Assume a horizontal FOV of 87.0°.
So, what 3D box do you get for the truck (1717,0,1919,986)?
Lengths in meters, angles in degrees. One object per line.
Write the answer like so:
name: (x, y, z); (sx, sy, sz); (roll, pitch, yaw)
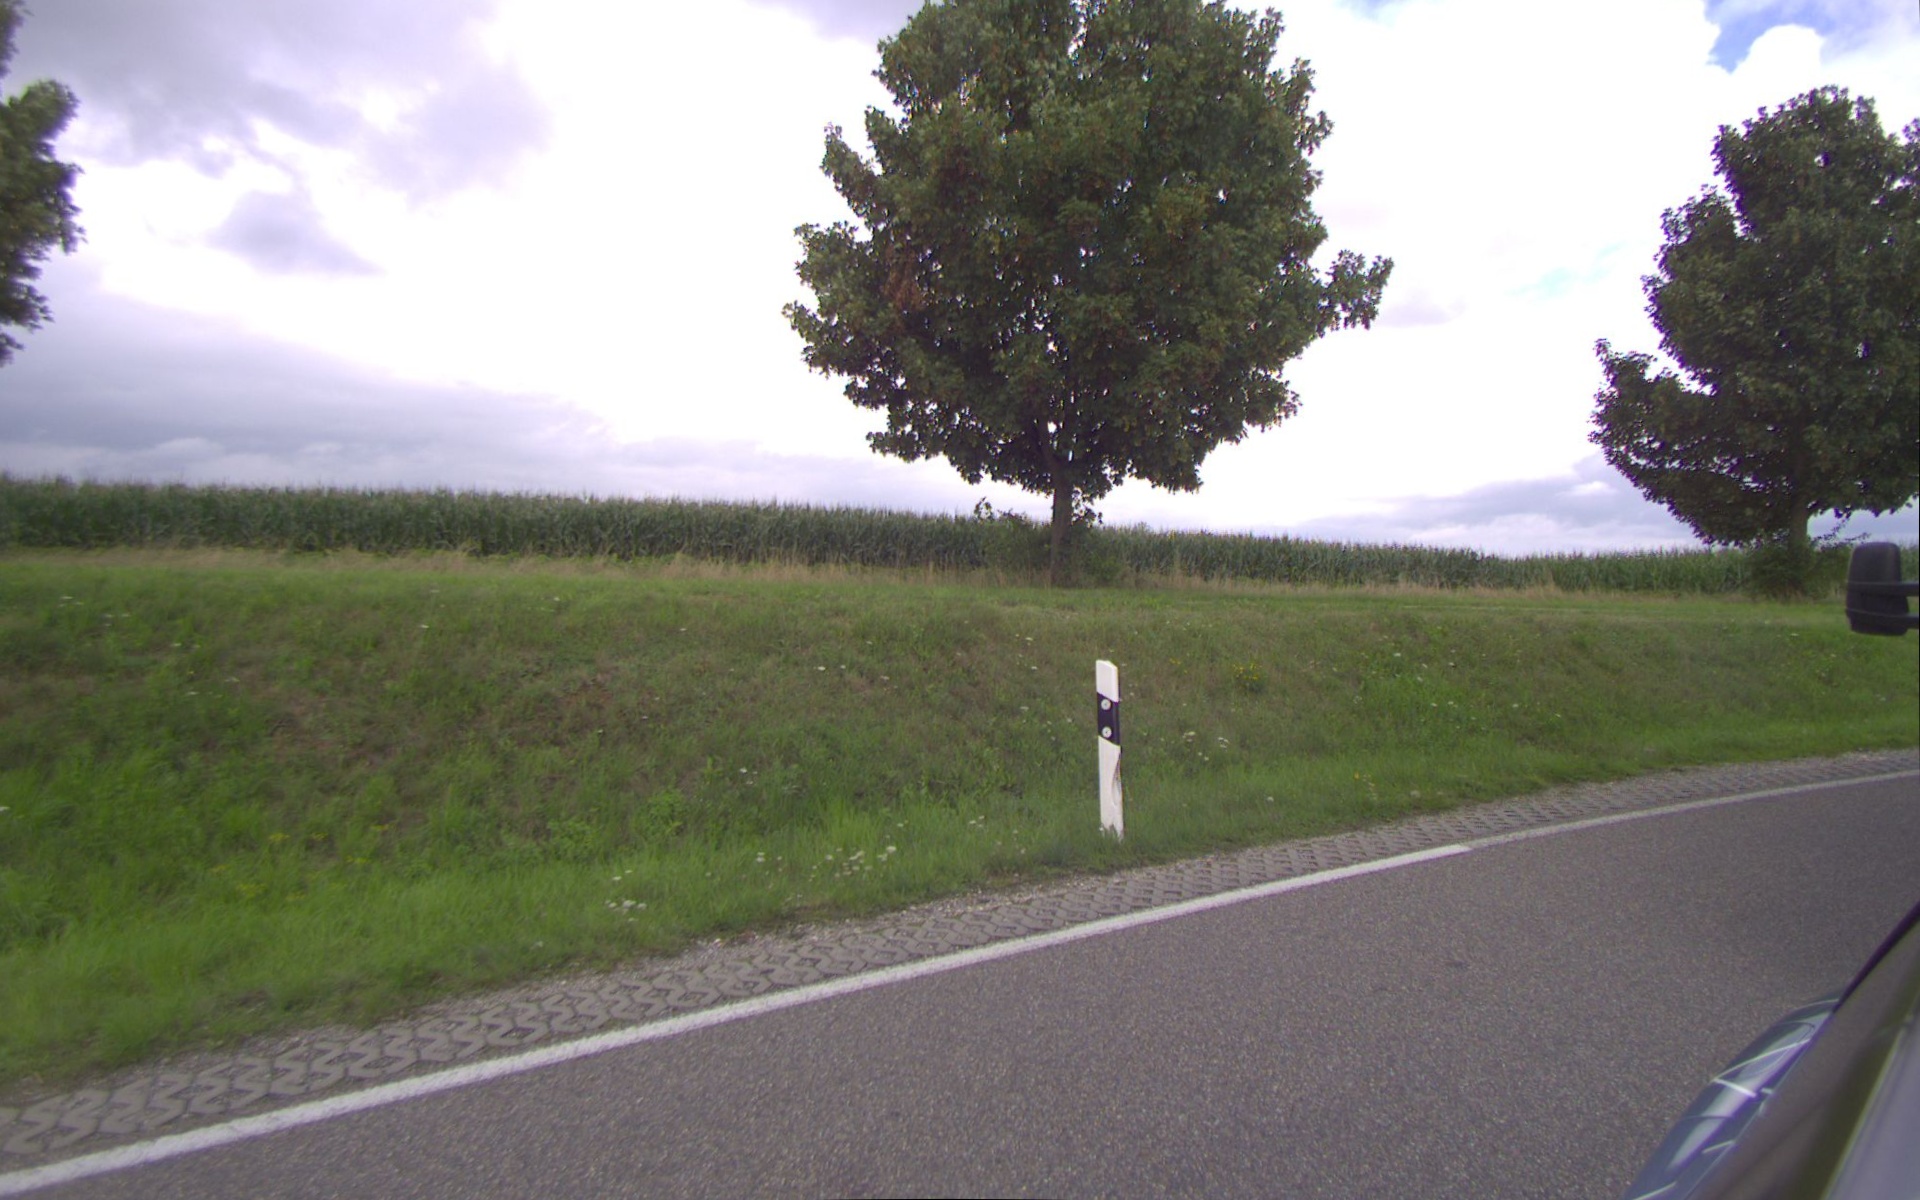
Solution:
truck: (7.188, -0.635, 4.558); (8.623, 3.810, 2.843); (1, 1, -30)
